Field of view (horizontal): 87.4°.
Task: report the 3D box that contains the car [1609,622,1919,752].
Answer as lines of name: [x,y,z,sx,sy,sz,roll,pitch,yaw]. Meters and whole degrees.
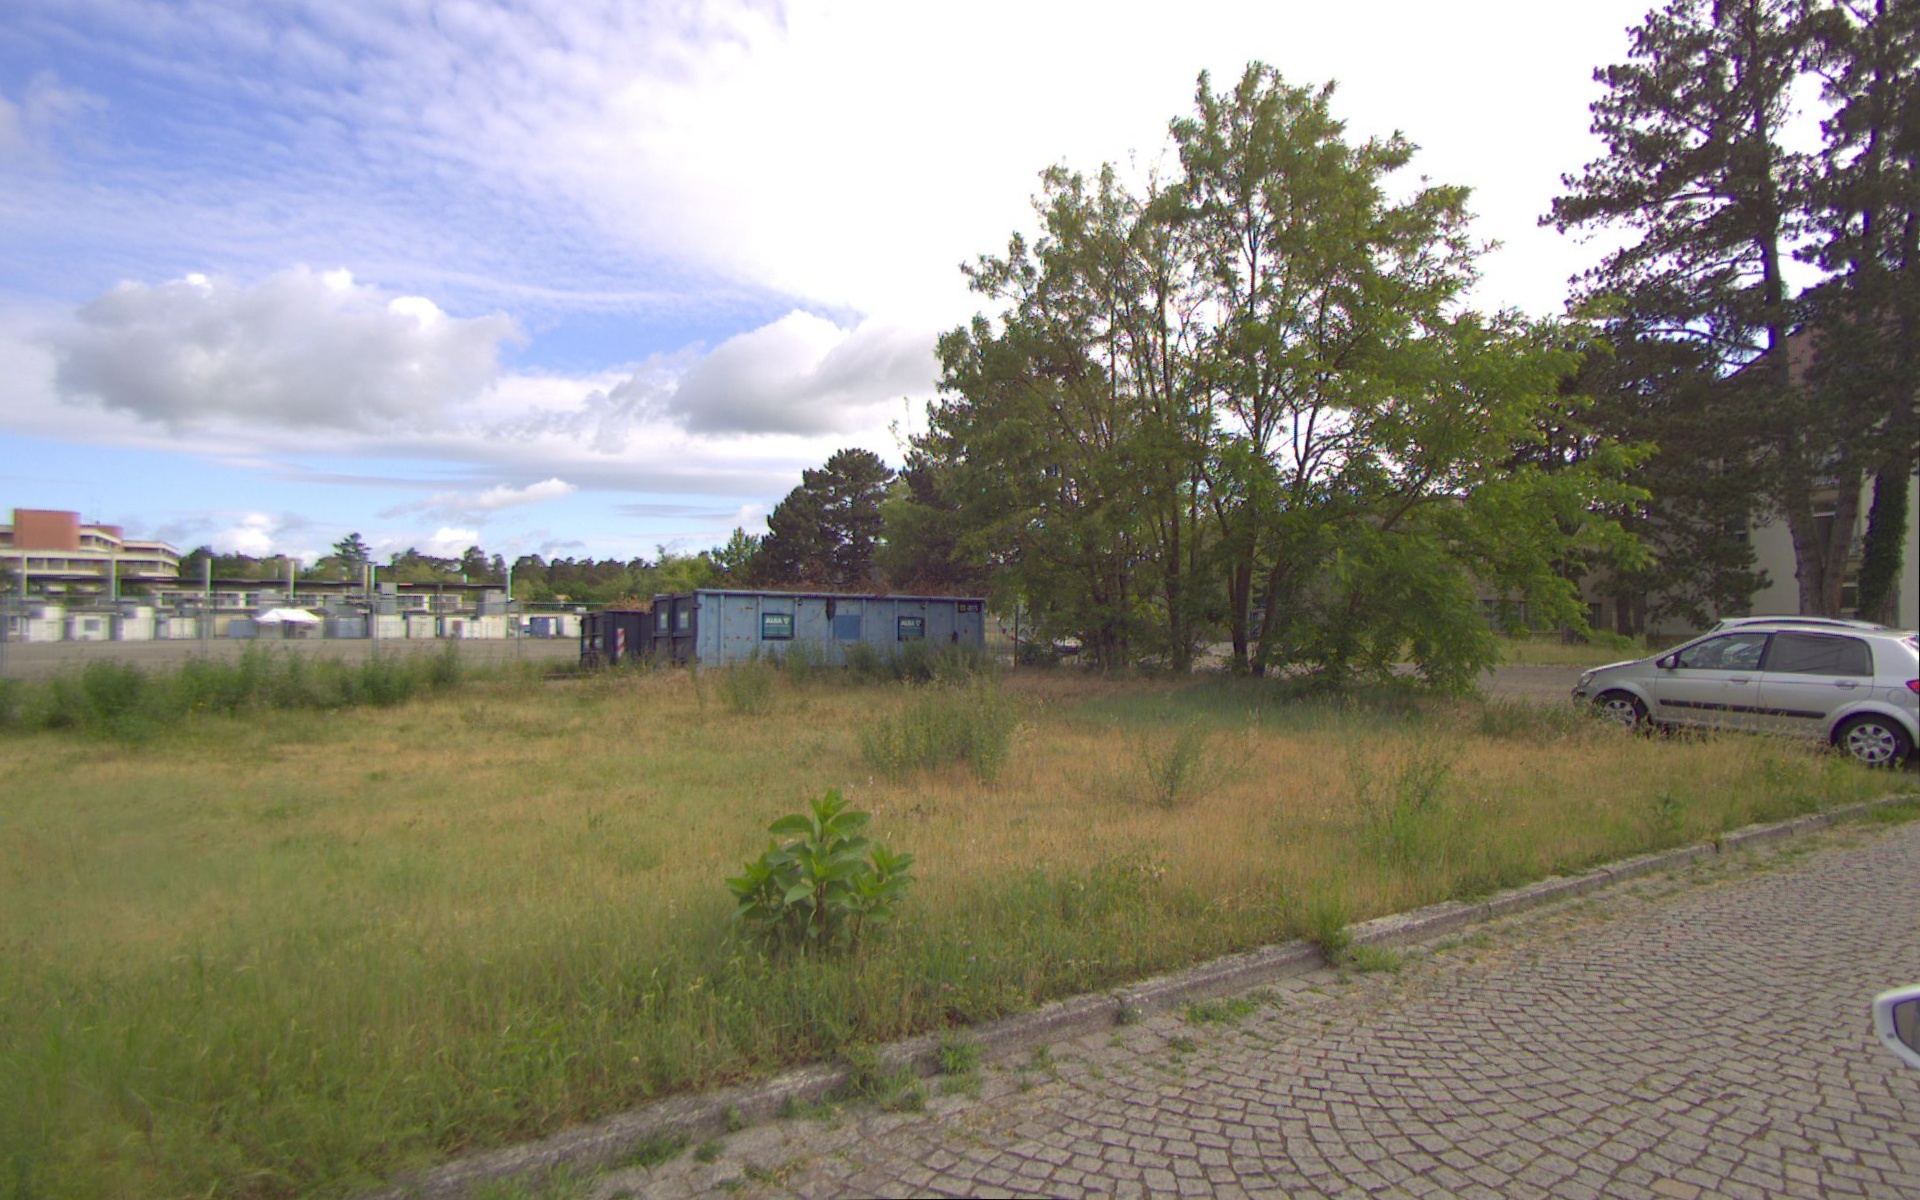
car: [11.657,1.119,13.791,1.796,1.574,4.266,1,-3,-37]

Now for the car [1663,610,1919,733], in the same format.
car: [13.761,1.075,15.668,1.637,1.755,4.267,1,-3,-37]

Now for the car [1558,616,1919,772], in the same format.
car: [9.622,1.006,12.199,1.656,1.500,3.696,1,1,-34]

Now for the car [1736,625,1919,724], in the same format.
car: [15.897,1.217,16.824,1.796,1.574,4.266,1,-3,-37]
